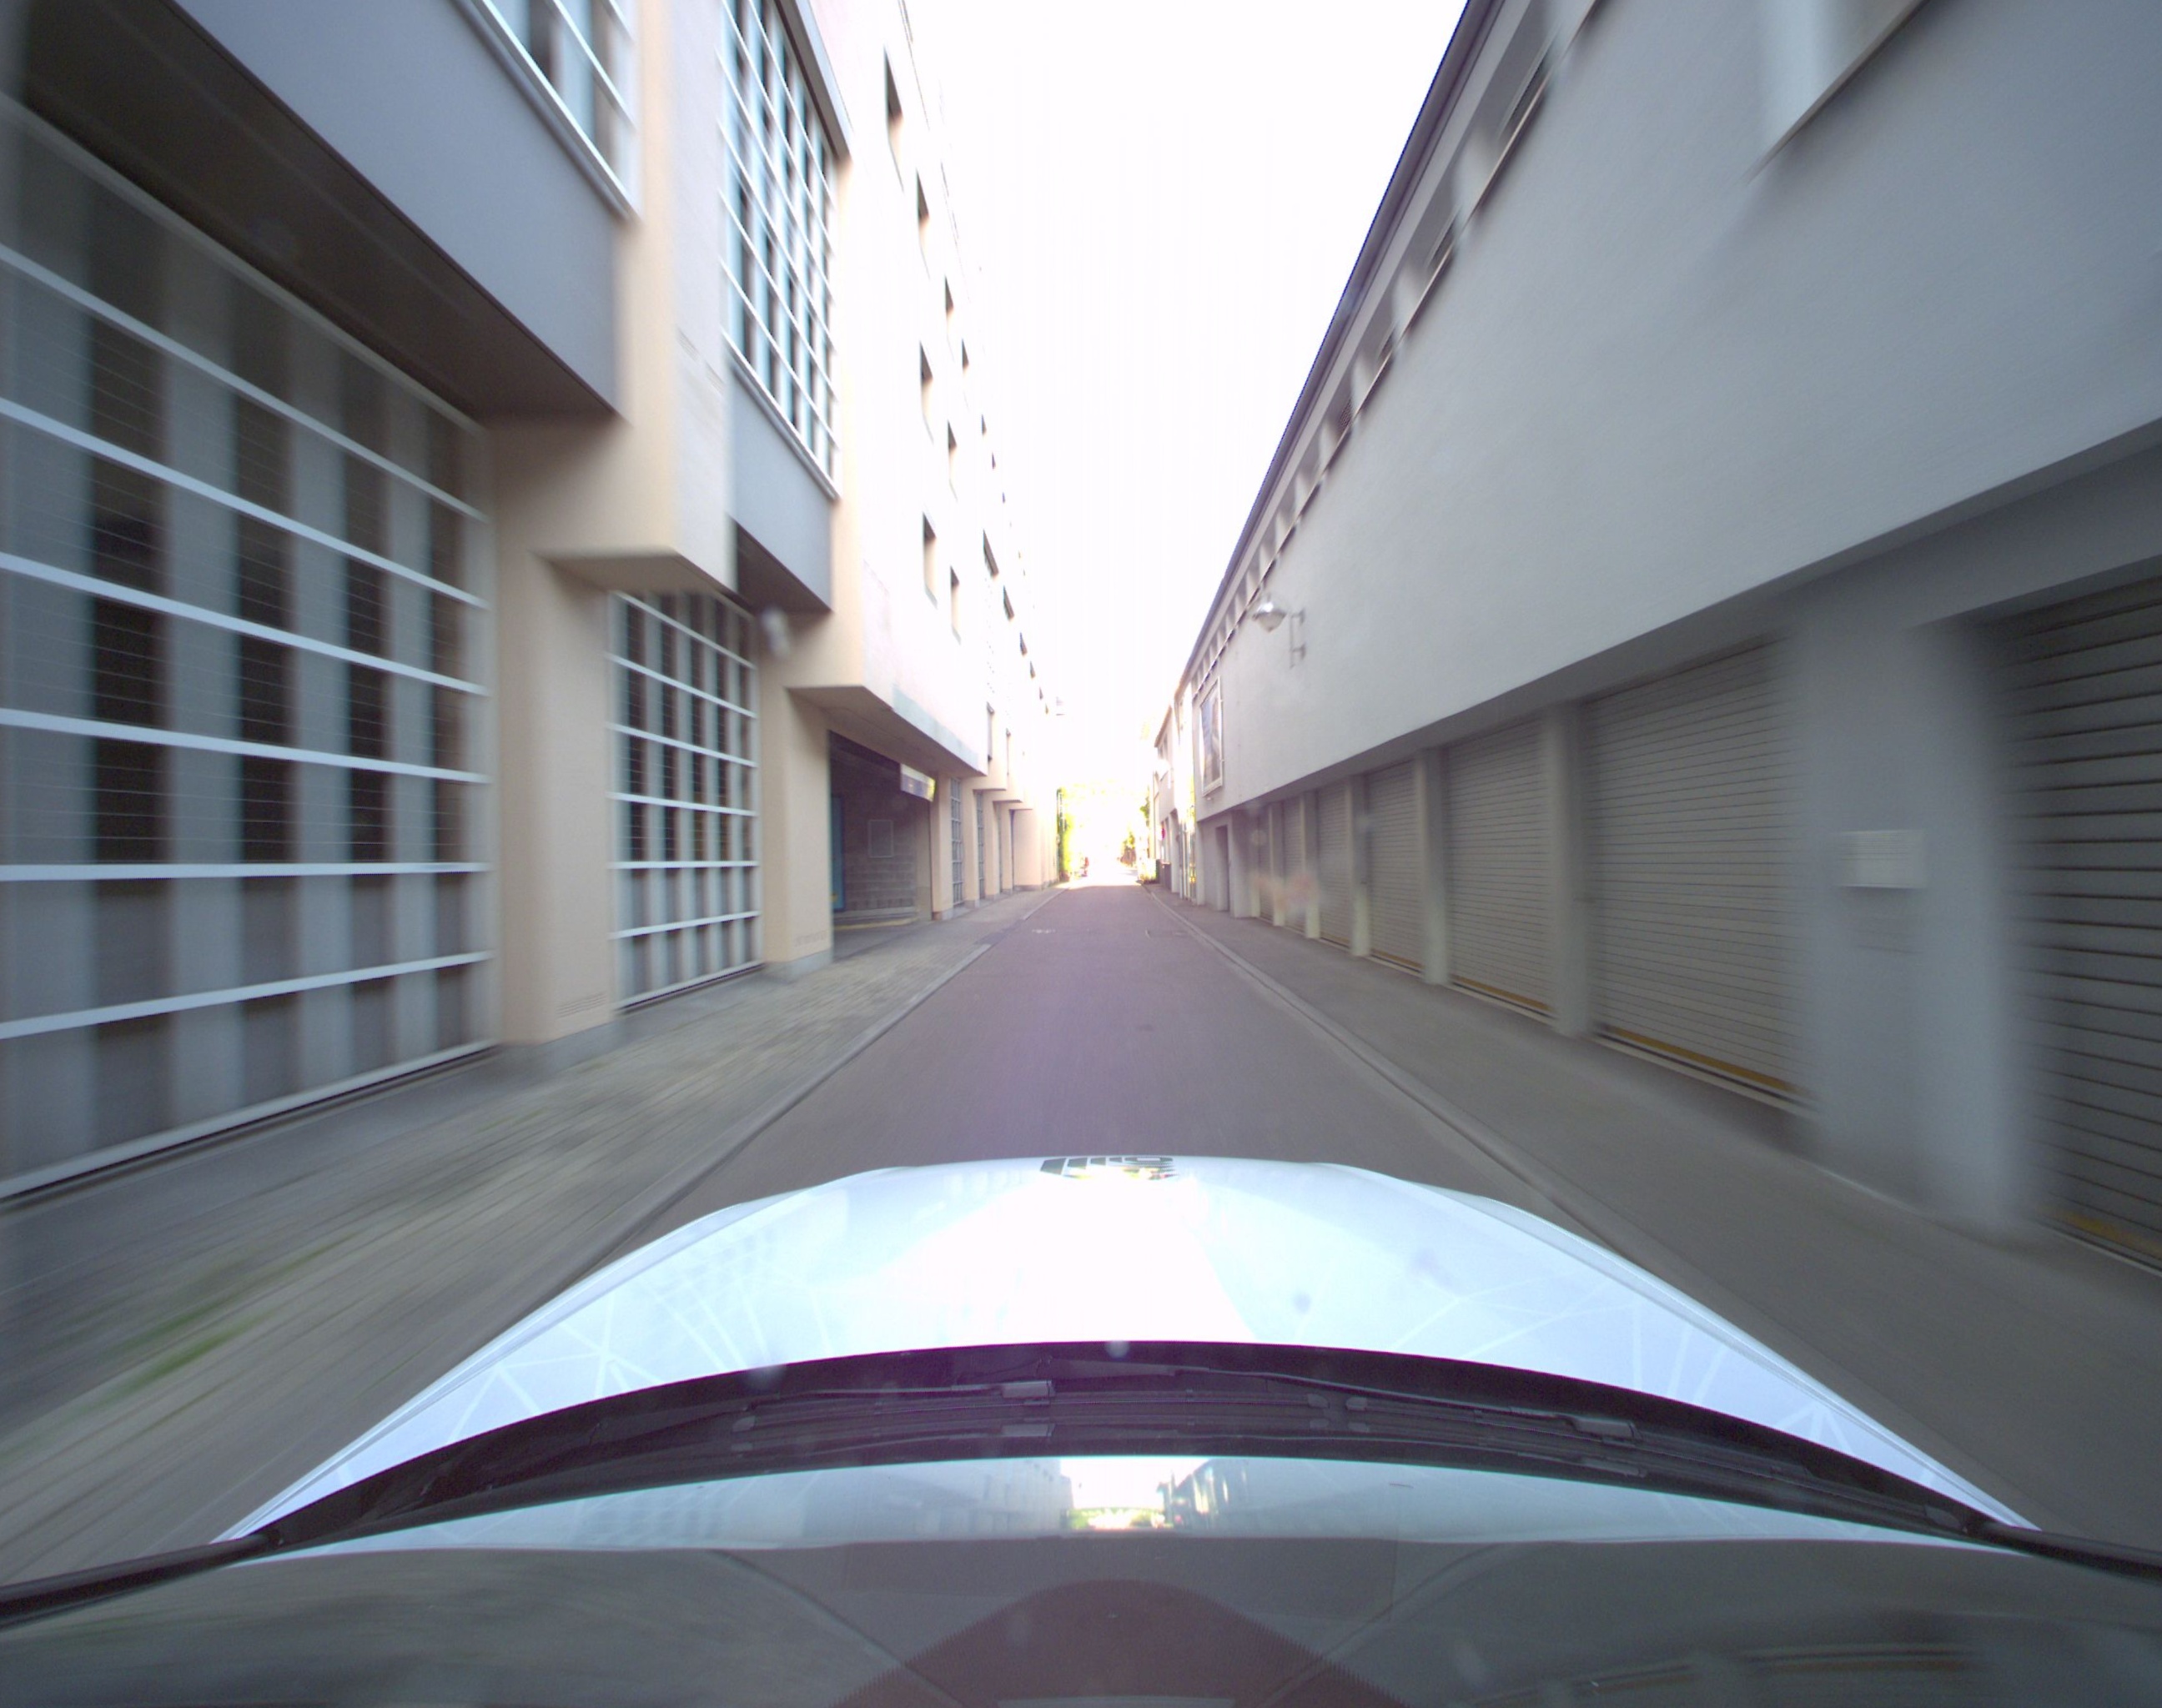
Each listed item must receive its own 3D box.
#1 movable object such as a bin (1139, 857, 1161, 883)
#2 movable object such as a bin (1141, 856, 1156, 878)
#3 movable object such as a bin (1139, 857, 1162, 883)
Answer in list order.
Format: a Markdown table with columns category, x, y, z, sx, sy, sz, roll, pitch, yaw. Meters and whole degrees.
| category | x | y | z | sx | sy | sz | roll | pitch | yaw |
| --- | --- | --- | --- | --- | --- | --- | --- | --- | --- |
| movable object such as a bin | 3.869 | 0.876 | 45.842 | 1.061 | 1.366 | 1.342 | -4 | -1 | 0 |
| movable object such as a bin | 4.206 | 0.816 | 50.489 | 0.832 | 1.305 | 1.292 | -4 | -1 | 5 |
| movable object such as a bin | 3.790 | 0.860 | 44.438 | 0.935 | 1.366 | 1.340 | -4 | -1 | -4 |
